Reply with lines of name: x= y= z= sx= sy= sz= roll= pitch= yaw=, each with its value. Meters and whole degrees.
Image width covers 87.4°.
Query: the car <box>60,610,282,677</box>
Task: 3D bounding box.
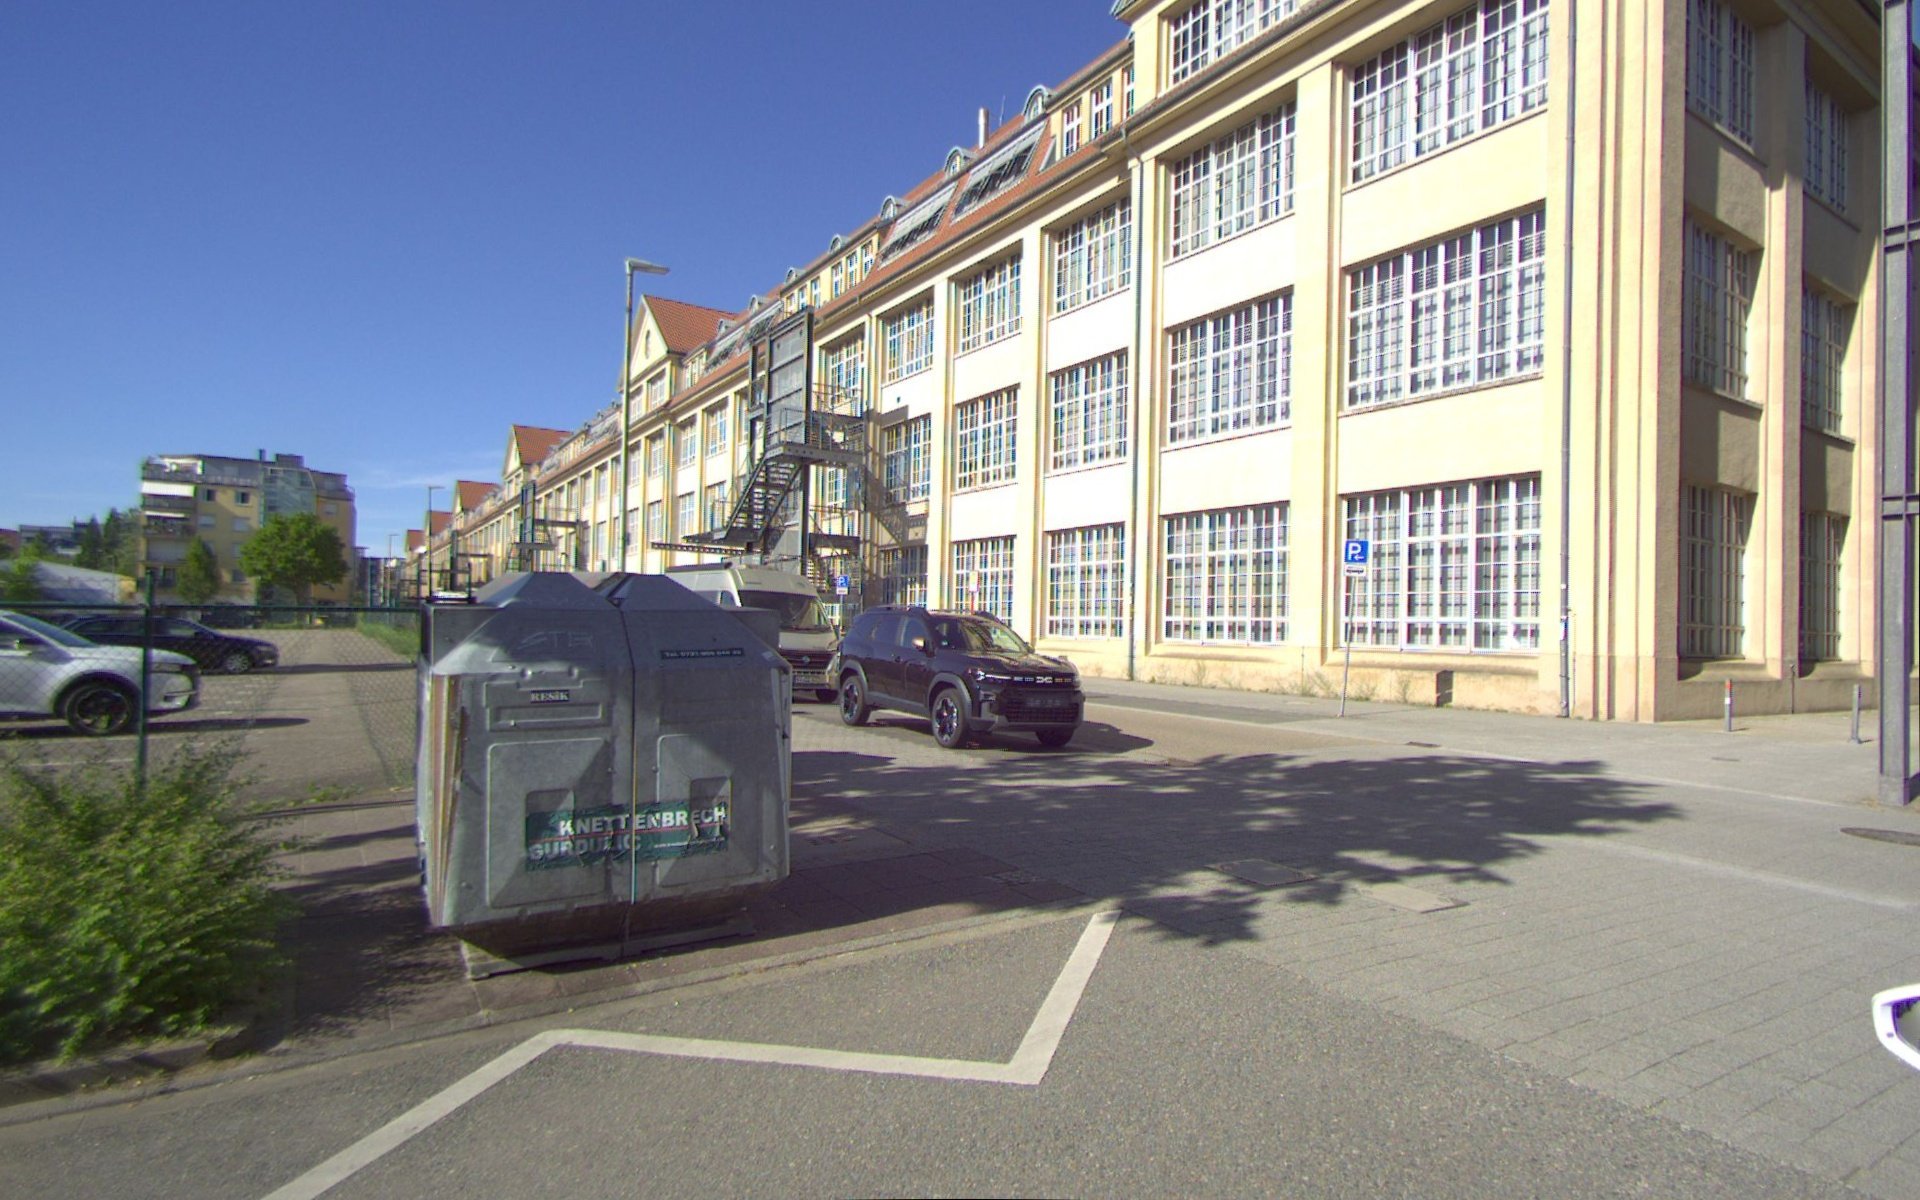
car: x=-19.962 y=1.106 z=25.683 sx=4.194 sy=1.580 sz=1.882 roll=2 pitch=-2 yaw=-31

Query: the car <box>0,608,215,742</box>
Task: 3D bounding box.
car: x=-12.482 y=0.922 z=12.926 sx=4.375 sy=1.631 sz=1.984 roll=2 pitch=-2 yaw=-31

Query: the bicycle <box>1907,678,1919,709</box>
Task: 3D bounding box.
bicycle: x=26.654 y=2.519 z=27.009 sx=2.845 sy=0.803 sz=0.776 roll=2 pitch=-1 yaw=-25

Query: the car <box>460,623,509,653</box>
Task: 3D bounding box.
car: x=-24.894 y=1.966 z=52.545 sx=1.831 sy=1.444 sz=4.188 roll=3 pitch=-2 yaw=-32

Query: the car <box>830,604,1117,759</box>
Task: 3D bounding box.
car: x=0.010 y=0.967 z=13.405 sx=1.977 sy=1.718 sz=4.069 roll=3 pitch=-2 yaw=-31

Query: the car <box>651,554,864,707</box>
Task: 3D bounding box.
car: x=-4.357 y=0.612 z=20.509 sx=2.141 sy=2.631 sz=6.229 roll=4 pitch=-2 yaw=-32

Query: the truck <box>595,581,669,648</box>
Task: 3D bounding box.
truck: x=-18.588 y=0.827 z=56.631 sx=2.472 sy=3.476 sz=7.070 roll=3 pitch=-2 yaw=-30

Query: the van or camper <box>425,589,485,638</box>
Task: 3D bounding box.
van or camper: x=-31.950 y=0.857 z=63.444 sx=2.696 sy=2.894 sz=5.086 roll=3 pitch=-2 yaw=-34

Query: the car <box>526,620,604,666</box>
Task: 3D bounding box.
car: x=-14.103 y=1.471 z=35.729 sx=1.831 sy=1.444 sz=4.188 roll=-1 pitch=0 yaw=-32
